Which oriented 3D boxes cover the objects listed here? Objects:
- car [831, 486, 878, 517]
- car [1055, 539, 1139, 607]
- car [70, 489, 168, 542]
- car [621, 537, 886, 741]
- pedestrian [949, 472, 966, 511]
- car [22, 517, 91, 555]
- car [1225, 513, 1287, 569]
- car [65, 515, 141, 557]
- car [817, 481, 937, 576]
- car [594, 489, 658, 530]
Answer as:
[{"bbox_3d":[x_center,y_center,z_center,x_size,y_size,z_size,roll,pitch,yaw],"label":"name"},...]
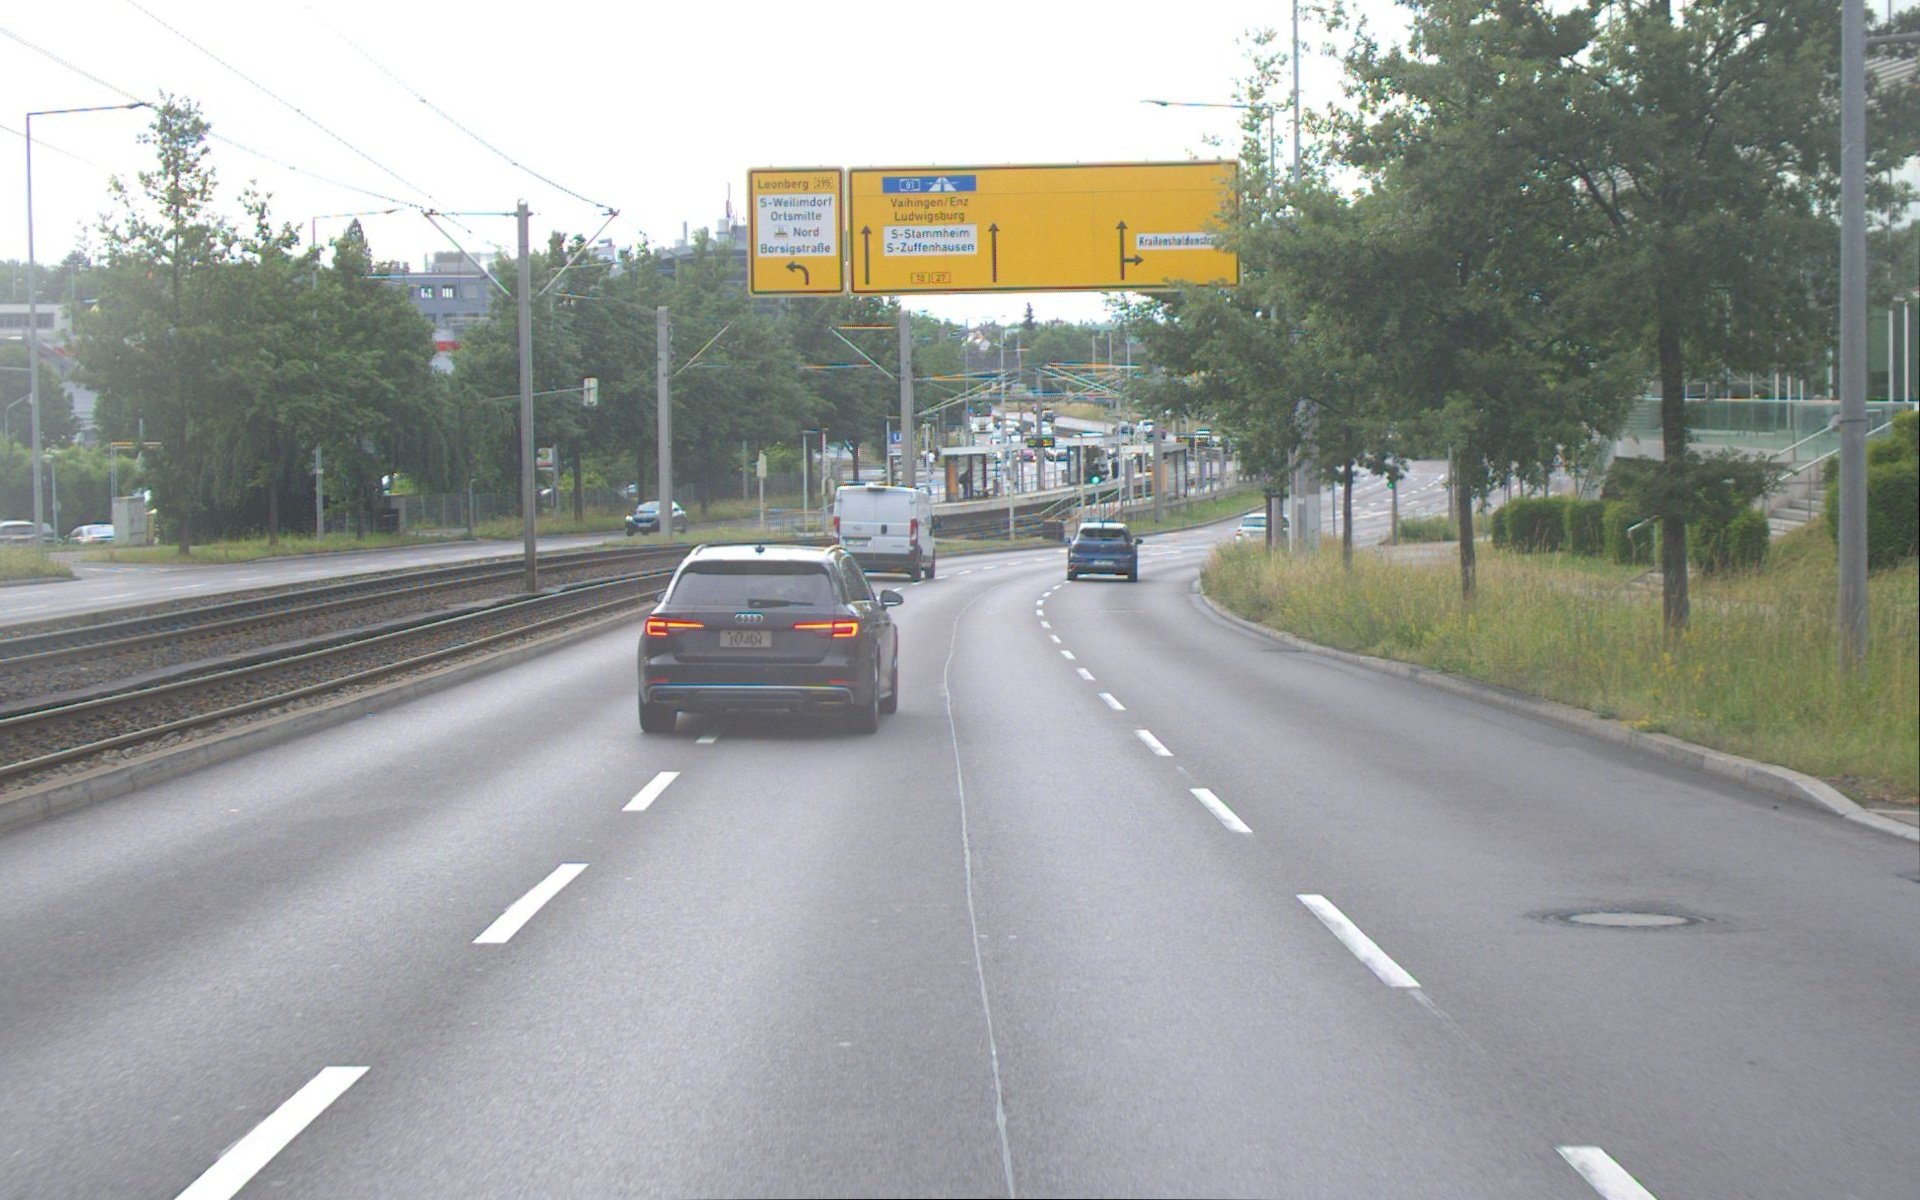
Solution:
[{"bbox_3d":[-5.914,-5.540,192.508,1.994,1.674,3.999,1,2,7],"label":"car"},{"bbox_3d":[3.476,-0.684,86.600,2.021,1.617,4.000,1,0,3],"label":"car"},{"bbox_3d":[-28.061,-2.810,114.843,1.994,1.645,3.999,1,0,5],"label":"car"},{"bbox_3d":[-1.540,0.237,27.113,1.764,1.458,4.627,0,1,1],"label":"car"},{"bbox_3d":[-0.112,-5.242,166.359,0.637,1.848,0.750,1,0,12],"label":"pedestrian"},{"bbox_3d":[-37.103,-2.614,141.118,1.993,1.505,4.001,1,0,-26],"label":"car"},{"bbox_3d":[10.483,-2.118,122.018,2.021,1.763,4.001,1,4,2],"label":"car"},{"bbox_3d":[-32.413,-2.416,129.899,1.993,1.505,4.001,1,0,-26],"label":"car"},{"bbox_3d":[-1.968,-1.702,83.112,2.511,2.169,5.149,1,0,3],"label":"car"},{"bbox_3d":[-13.337,-3.629,137.441,1.883,1.515,4.403,-3,2,2],"label":"car"}]
